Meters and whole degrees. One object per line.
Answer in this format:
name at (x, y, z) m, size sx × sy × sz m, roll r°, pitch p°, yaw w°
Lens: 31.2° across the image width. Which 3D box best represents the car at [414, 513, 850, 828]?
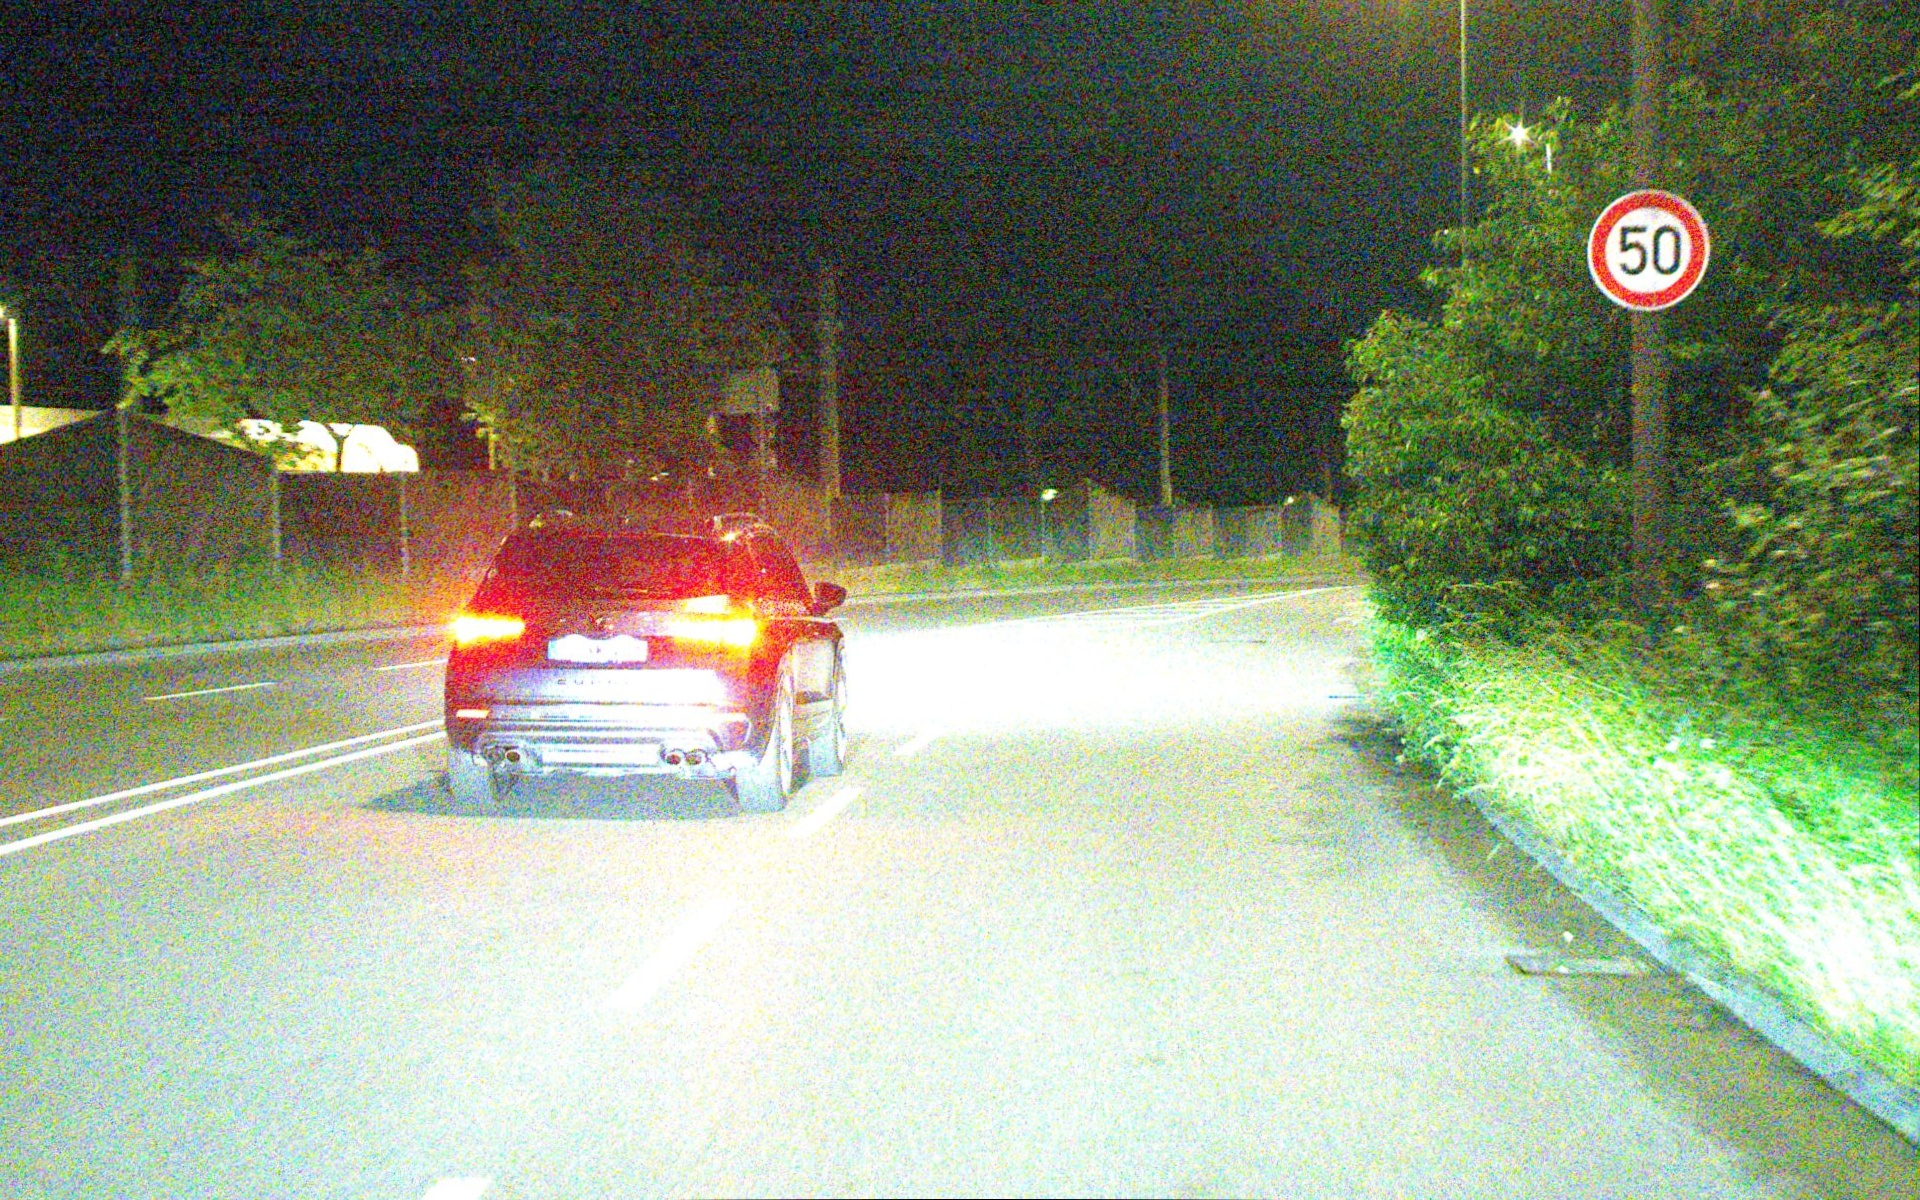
car at (-1.740, 0.320, 19.486) m, size 1.815 × 1.568 × 3.943 m, roll 1°, pitch 1°, yaw 4°
